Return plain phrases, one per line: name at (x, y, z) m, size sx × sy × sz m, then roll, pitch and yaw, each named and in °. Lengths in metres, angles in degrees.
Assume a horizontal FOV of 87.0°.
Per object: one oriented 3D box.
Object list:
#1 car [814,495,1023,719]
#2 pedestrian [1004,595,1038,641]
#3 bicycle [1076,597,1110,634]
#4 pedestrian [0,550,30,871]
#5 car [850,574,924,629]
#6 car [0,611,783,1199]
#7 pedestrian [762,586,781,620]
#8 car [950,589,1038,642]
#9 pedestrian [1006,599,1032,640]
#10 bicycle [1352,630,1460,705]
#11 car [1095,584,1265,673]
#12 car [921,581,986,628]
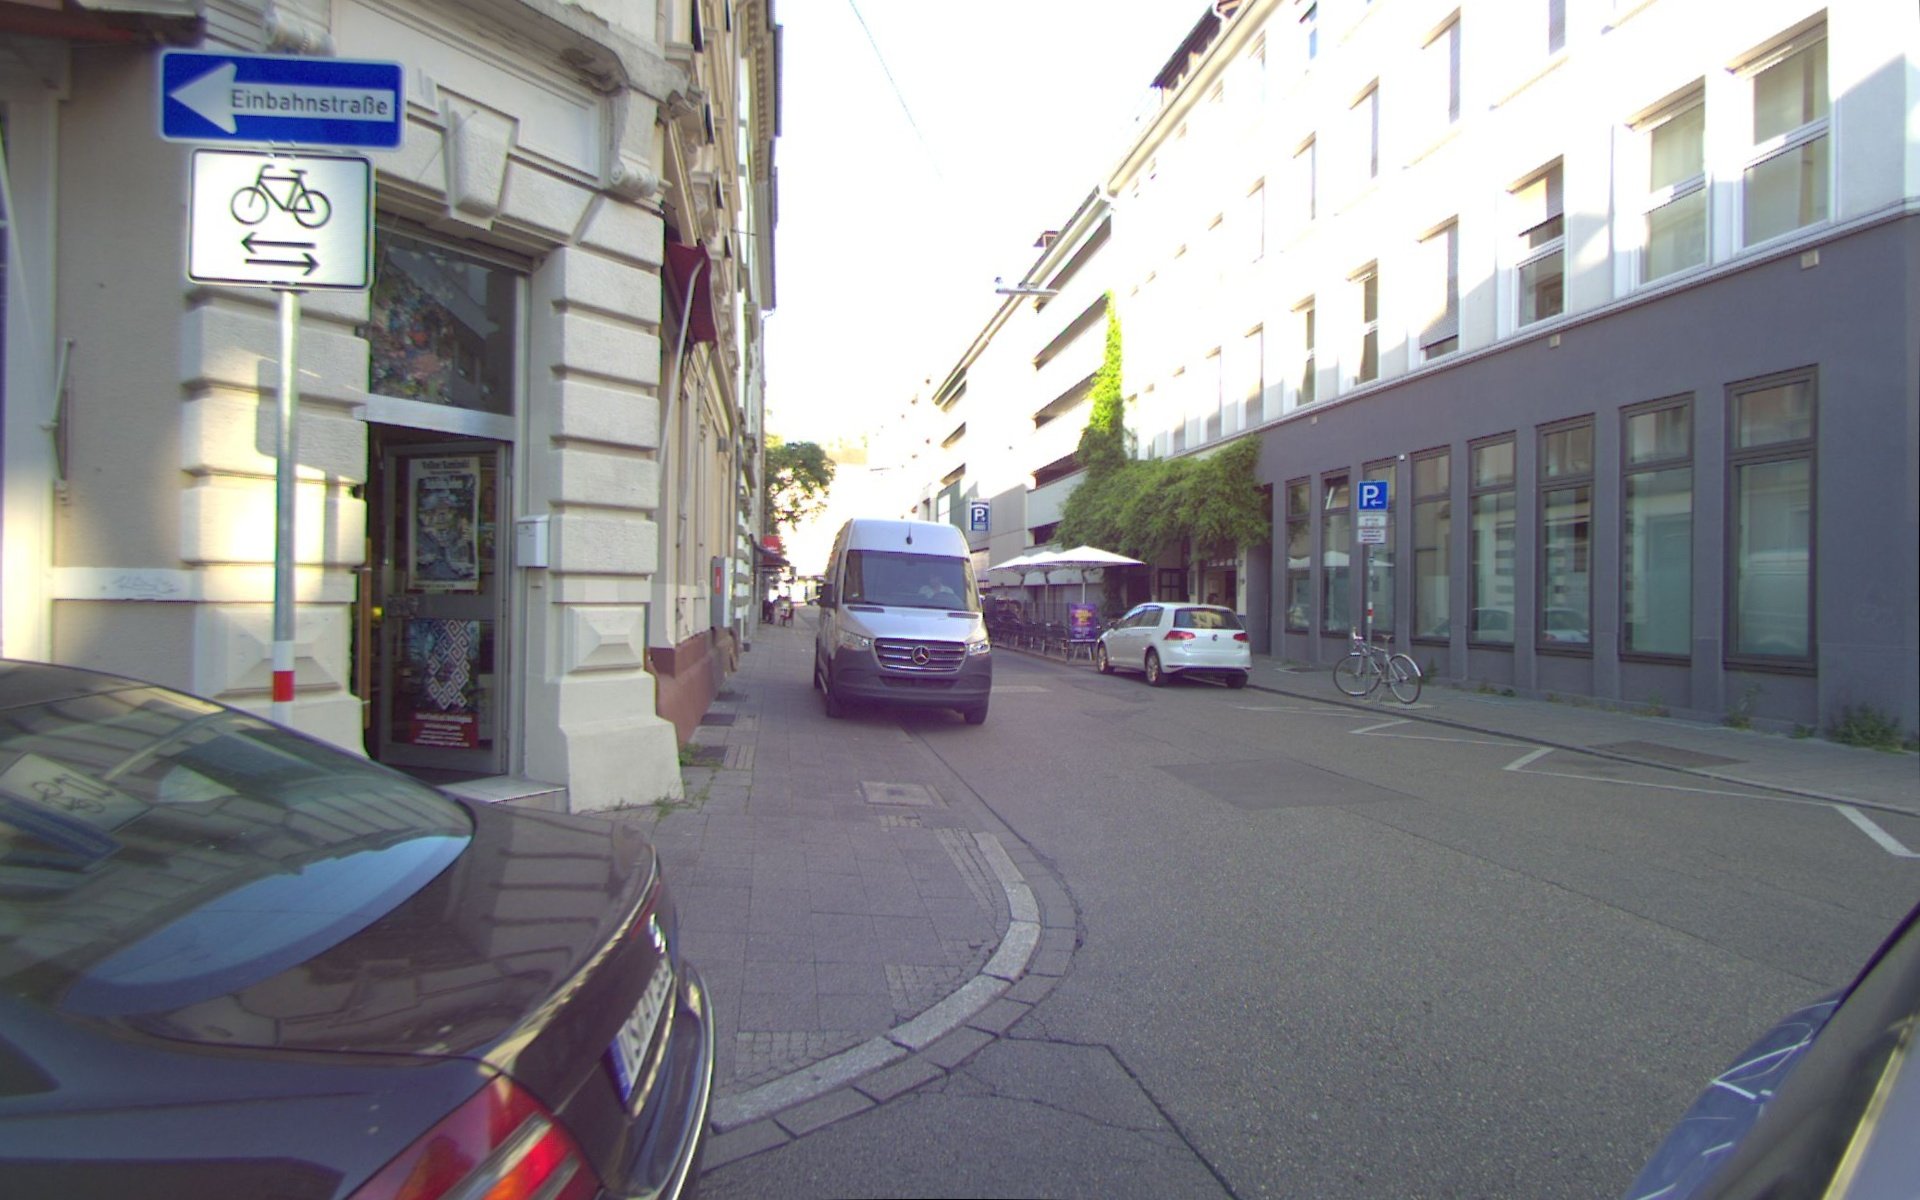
car at (-0.883, 0.048, 14.392) m, size 2.237 × 2.470 × 6.213 m, roll 1°, pitch 1°, yaw -9°
pedestrian at (1.751, 0.514, 29.179) m, size 0.767 × 1.303 × 0.917 m, roll 1°, pitch 0°, yaw -10°
bicycle at (4.407, 0.498, 33.549) m, size 0.632 × 1.175 × 1.797 m, roll 0°, pitch 0°, yaw -9°
pedestrian at (-4.704, 0.514, 4.478) m, size 0.568 × 1.490 × 0.718 m, roll 0°, pitch 0°, yaw -9°
car at (-2.310, 0.022, 31.033) m, size 1.753 × 1.543 × 4.007 m, roll -1°, pitch 1°, yaw -11°
car at (-2.697, 0.751, 1.658) m, size 4.633 × 1.426 × 1.893 m, roll 1°, pitch 0°, yaw -6°
pedestrian at (-8.537, 0.136, 45.858) m, size 0.810 × 1.505 × 0.662 m, roll 1°, pitch 0°, yaw -11°
car at (1.088, 0.481, 35.165) m, size 1.848 × 1.588 × 4.780 m, roll 3°, pitch 0°, yaw -12°
pedestrian at (1.769, 0.565, 30.186) m, size 0.547 × 1.180 × 0.736 m, roll 1°, pitch 0°, yaw 22°
bicycle at (6.249, 0.920, 14.263) m, size 0.586 × 0.916 × 1.646 m, roll 1°, pitch 0°, yaw -9°
car at (3.911, 0.451, 18.679) m, size 1.628 × 1.431 × 3.890 m, roll 1°, pitch 1°, yaw -11°
car at (-0.368, 0.169, 46.251) m, size 1.958 × 1.964 × 4.860 m, roll 3°, pitch 0°, yaw -12°
